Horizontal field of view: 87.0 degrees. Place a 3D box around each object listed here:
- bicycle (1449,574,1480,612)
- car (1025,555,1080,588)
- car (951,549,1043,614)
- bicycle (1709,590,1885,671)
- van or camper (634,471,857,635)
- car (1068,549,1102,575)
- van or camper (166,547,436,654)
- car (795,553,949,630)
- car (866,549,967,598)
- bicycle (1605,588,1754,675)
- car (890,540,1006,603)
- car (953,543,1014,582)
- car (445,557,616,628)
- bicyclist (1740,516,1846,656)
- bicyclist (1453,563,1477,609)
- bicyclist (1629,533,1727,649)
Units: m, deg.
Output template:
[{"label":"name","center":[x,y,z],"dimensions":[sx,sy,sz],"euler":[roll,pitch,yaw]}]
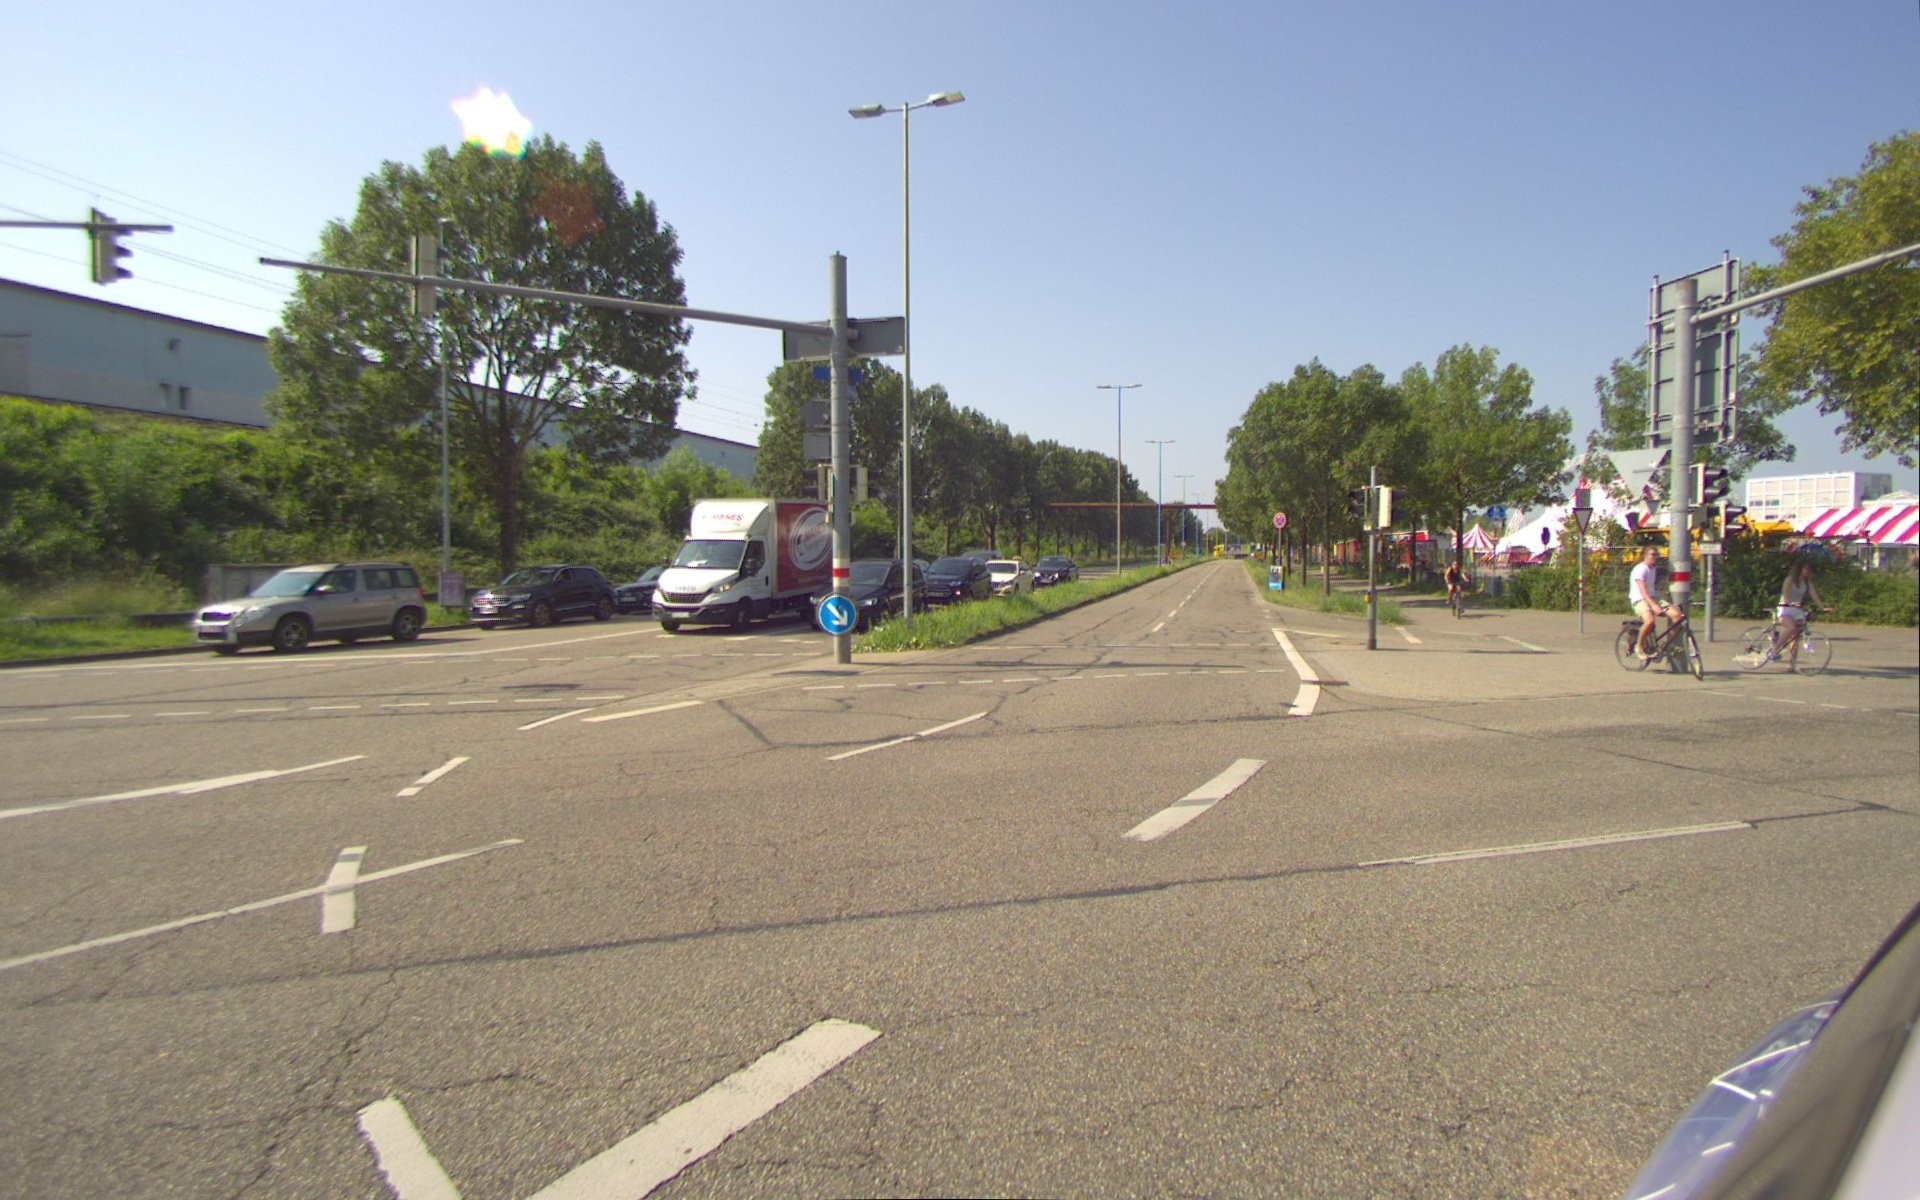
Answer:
[{"label":"bicycle","center":[15.245,-0.219,30.554],"dimensions":[0.569,1.069,1.474],"euler":[-1,1,37]},{"label":"car","center":[4.220,-1.267,45.746],"dimensions":[1.635,1.415,3.733],"euler":[-1,1,19]},{"label":"car","center":[1.524,-0.698,38.873],"dimensions":[2.219,2.290,5.194],"euler":[-1,0,18]},{"label":"bicycle","center":[12.784,0.424,15.576],"dimensions":[0.758,1.101,2.264],"euler":[-2,1,-1]},{"label":"van or camper","center":[-4.911,-1.021,24.660],"dimensions":[2.219,3.405,6.813],"euler":[-1,0,18]},{"label":"car","center":[8.525,-2.542,68.663],"dimensions":[1.776,1.576,3.982],"euler":[-1,0,14]},{"label":"van or camper","center":[-12.392,-0.009,19.375],"dimensions":[1.826,1.799,4.153],"euler":[-1,0,16]},{"label":"car","center":[-1.976,-0.214,24.564],"dimensions":[1.881,1.633,5.167],"euler":[-1,0,18]},{"label":"car","center":[-1.489,-0.943,37.076],"dimensions":[2.137,1.629,4.947],"euler":[-1,0,18]},{"label":"bicycle","center":[10.671,0.424,15.127],"dimensions":[0.759,1.100,2.219],"euler":[-1,3,4]},{"label":"car","center":[-0.265,-0.850,31.807],"dimensions":[2.117,1.762,5.194],"euler":[-1,0,18]},{"label":"car","center":[1.127,-1.672,46.318],"dimensions":[1.636,1.685,3.730],"euler":[-1,0,20]},{"label":"car","center":[-10.732,-0.243,25.633],"dimensions":[1.970,1.571,3.985],"euler":[-1,3,14]},{"label":"bicyclist","center":[12.729,-0.216,15.502],"dimensions":[0.586,2.039,1.205],"euler":[-1,1,0]},{"label":"bicyclist","center":[15.268,-0.424,30.582],"dimensions":[0.500,1.382,0.687],"euler":[-2,0,38]},{"label":"bicyclist","center":[10.486,-0.138,14.818],"dimensions":[0.587,1.614,1.203],"euler":[-1,0,4]}]
